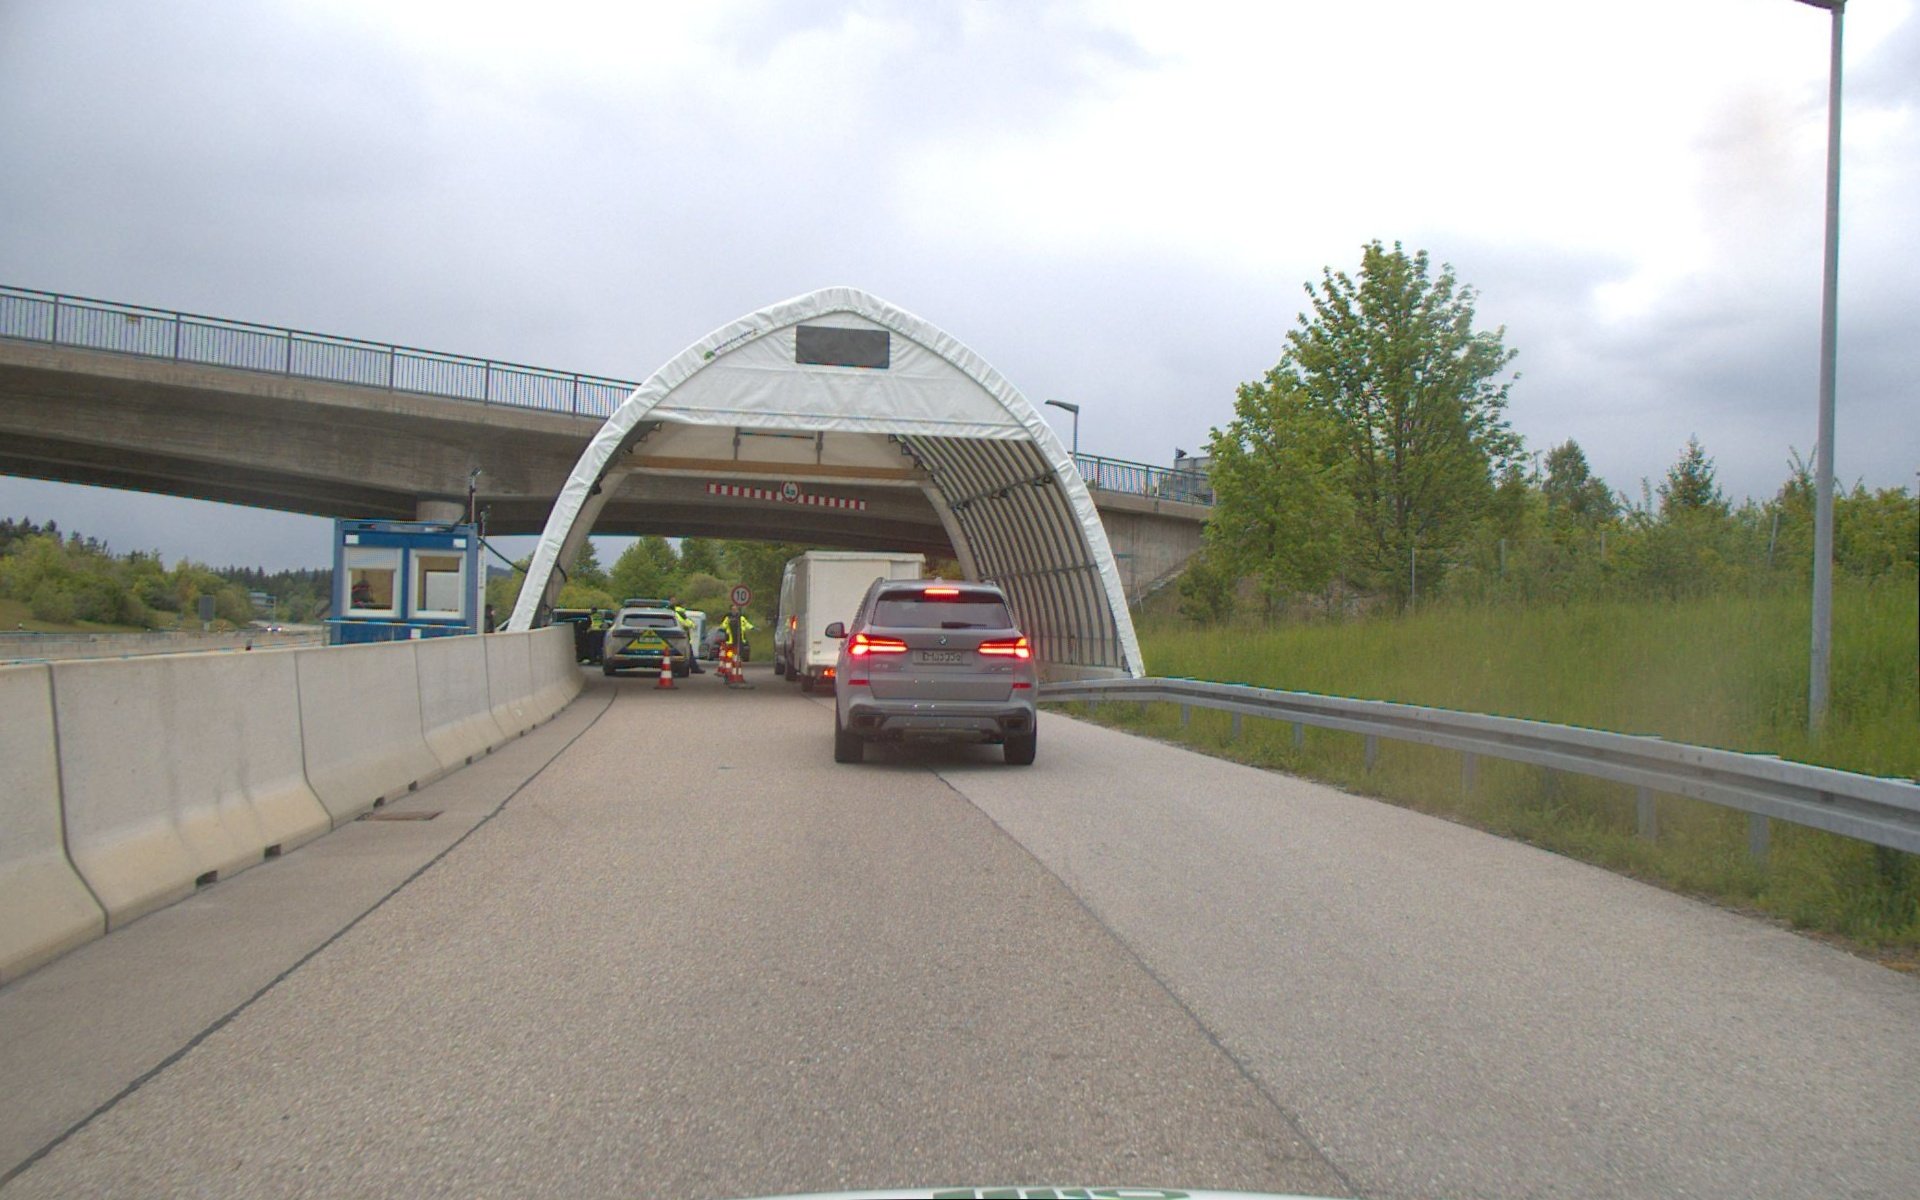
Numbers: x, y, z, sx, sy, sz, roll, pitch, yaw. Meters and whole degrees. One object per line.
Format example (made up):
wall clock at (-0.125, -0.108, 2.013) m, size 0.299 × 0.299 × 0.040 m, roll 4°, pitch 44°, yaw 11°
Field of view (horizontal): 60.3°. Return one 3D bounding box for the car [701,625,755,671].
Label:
car at (-9.804, 2.008, 69.615) m, size 1.677 × 1.887 × 3.981 m, roll 0°, pitch -1°, yaw -17°

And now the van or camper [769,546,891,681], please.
van or camper at (-3.067, 0.376, 37.769) m, size 2.118 × 2.812 × 5.855 m, roll 1°, pitch -2°, yaw -11°

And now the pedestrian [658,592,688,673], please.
pedestrian at (-7.143, 0.806, 41.179) m, size 0.707 × 1.980 × 0.688 m, roll 0°, pitch -1°, yaw -12°

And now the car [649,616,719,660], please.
car at (-13.196, 1.813, 78.948) m, size 1.973 × 2.049 × 3.958 m, roll 1°, pitch -1°, yaw -31°

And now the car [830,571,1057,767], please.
car at (-0.297, 0.674, 16.930) m, size 1.955 × 1.750 × 3.994 m, roll 1°, pitch -1°, yaw -6°

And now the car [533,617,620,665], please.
car at (-12.227, 1.300, 52.660) m, size 1.503 × 1.467 × 3.271 m, roll 1°, pitch -1°, yaw -37°

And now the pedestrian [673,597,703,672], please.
pedestrian at (-6.617, 0.841, 40.206) m, size 0.707 × 1.807 × 0.688 m, roll 0°, pitch -1°, yaw -12°

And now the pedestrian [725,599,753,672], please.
pedestrian at (-5.512, 0.890, 41.182) m, size 0.637 × 1.807 × 0.604 m, roll 0°, pitch -1°, yaw -14°

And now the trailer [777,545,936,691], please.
trailer at (-2.119, 0.416, 31.540) m, size 2.238 × 2.473 × 6.799 m, roll 1°, pitch -2°, yaw -10°

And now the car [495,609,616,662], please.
car at (-14.661, 1.300, 60.052) m, size 3.903 × 1.887 × 1.710 m, roll 0°, pitch -1°, yaw 4°

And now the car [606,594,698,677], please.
car at (-7.074, 0.807, 37.789) m, size 1.958 × 1.803 × 3.754 m, roll 0°, pitch -1°, yaw -12°
